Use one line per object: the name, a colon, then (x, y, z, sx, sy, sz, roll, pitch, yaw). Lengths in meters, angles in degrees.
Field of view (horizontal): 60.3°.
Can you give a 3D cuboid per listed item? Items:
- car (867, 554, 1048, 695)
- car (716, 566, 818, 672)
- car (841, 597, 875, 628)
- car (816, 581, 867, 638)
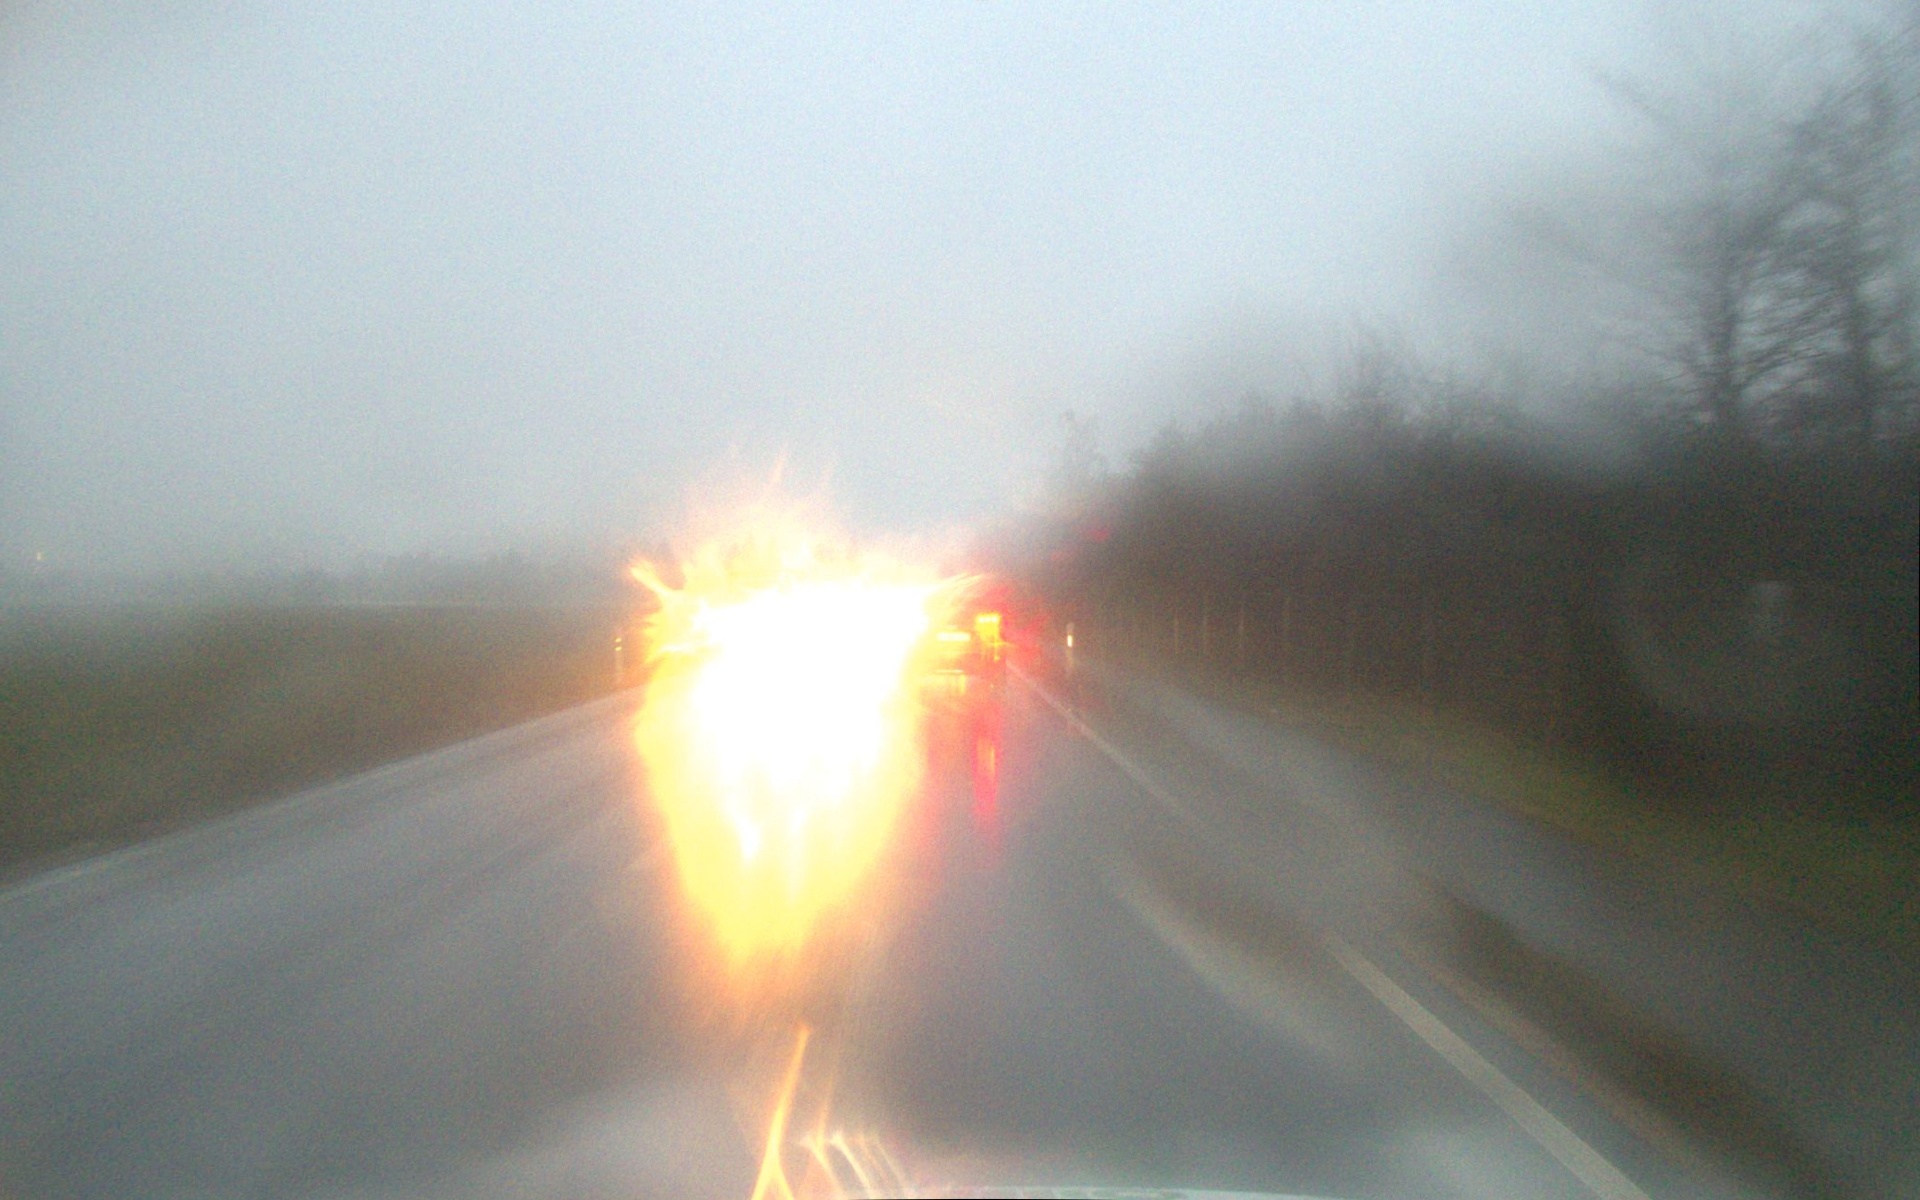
car: (-0.035, 0.384, 28.616, 2.763, 2.113, 5.804, 2, 0, 0)
car: (-4.174, 0.393, 36.363, 1.877, 2.175, 4.311, -1, 0, -2)
car: (-5.991, 0.727, 97.713, 1.877, 1.742, 4.311, -1, 0, -2)
car: (-4.736, 0.372, 66.573, 1.877, 2.175, 4.311, -1, 0, -2)
